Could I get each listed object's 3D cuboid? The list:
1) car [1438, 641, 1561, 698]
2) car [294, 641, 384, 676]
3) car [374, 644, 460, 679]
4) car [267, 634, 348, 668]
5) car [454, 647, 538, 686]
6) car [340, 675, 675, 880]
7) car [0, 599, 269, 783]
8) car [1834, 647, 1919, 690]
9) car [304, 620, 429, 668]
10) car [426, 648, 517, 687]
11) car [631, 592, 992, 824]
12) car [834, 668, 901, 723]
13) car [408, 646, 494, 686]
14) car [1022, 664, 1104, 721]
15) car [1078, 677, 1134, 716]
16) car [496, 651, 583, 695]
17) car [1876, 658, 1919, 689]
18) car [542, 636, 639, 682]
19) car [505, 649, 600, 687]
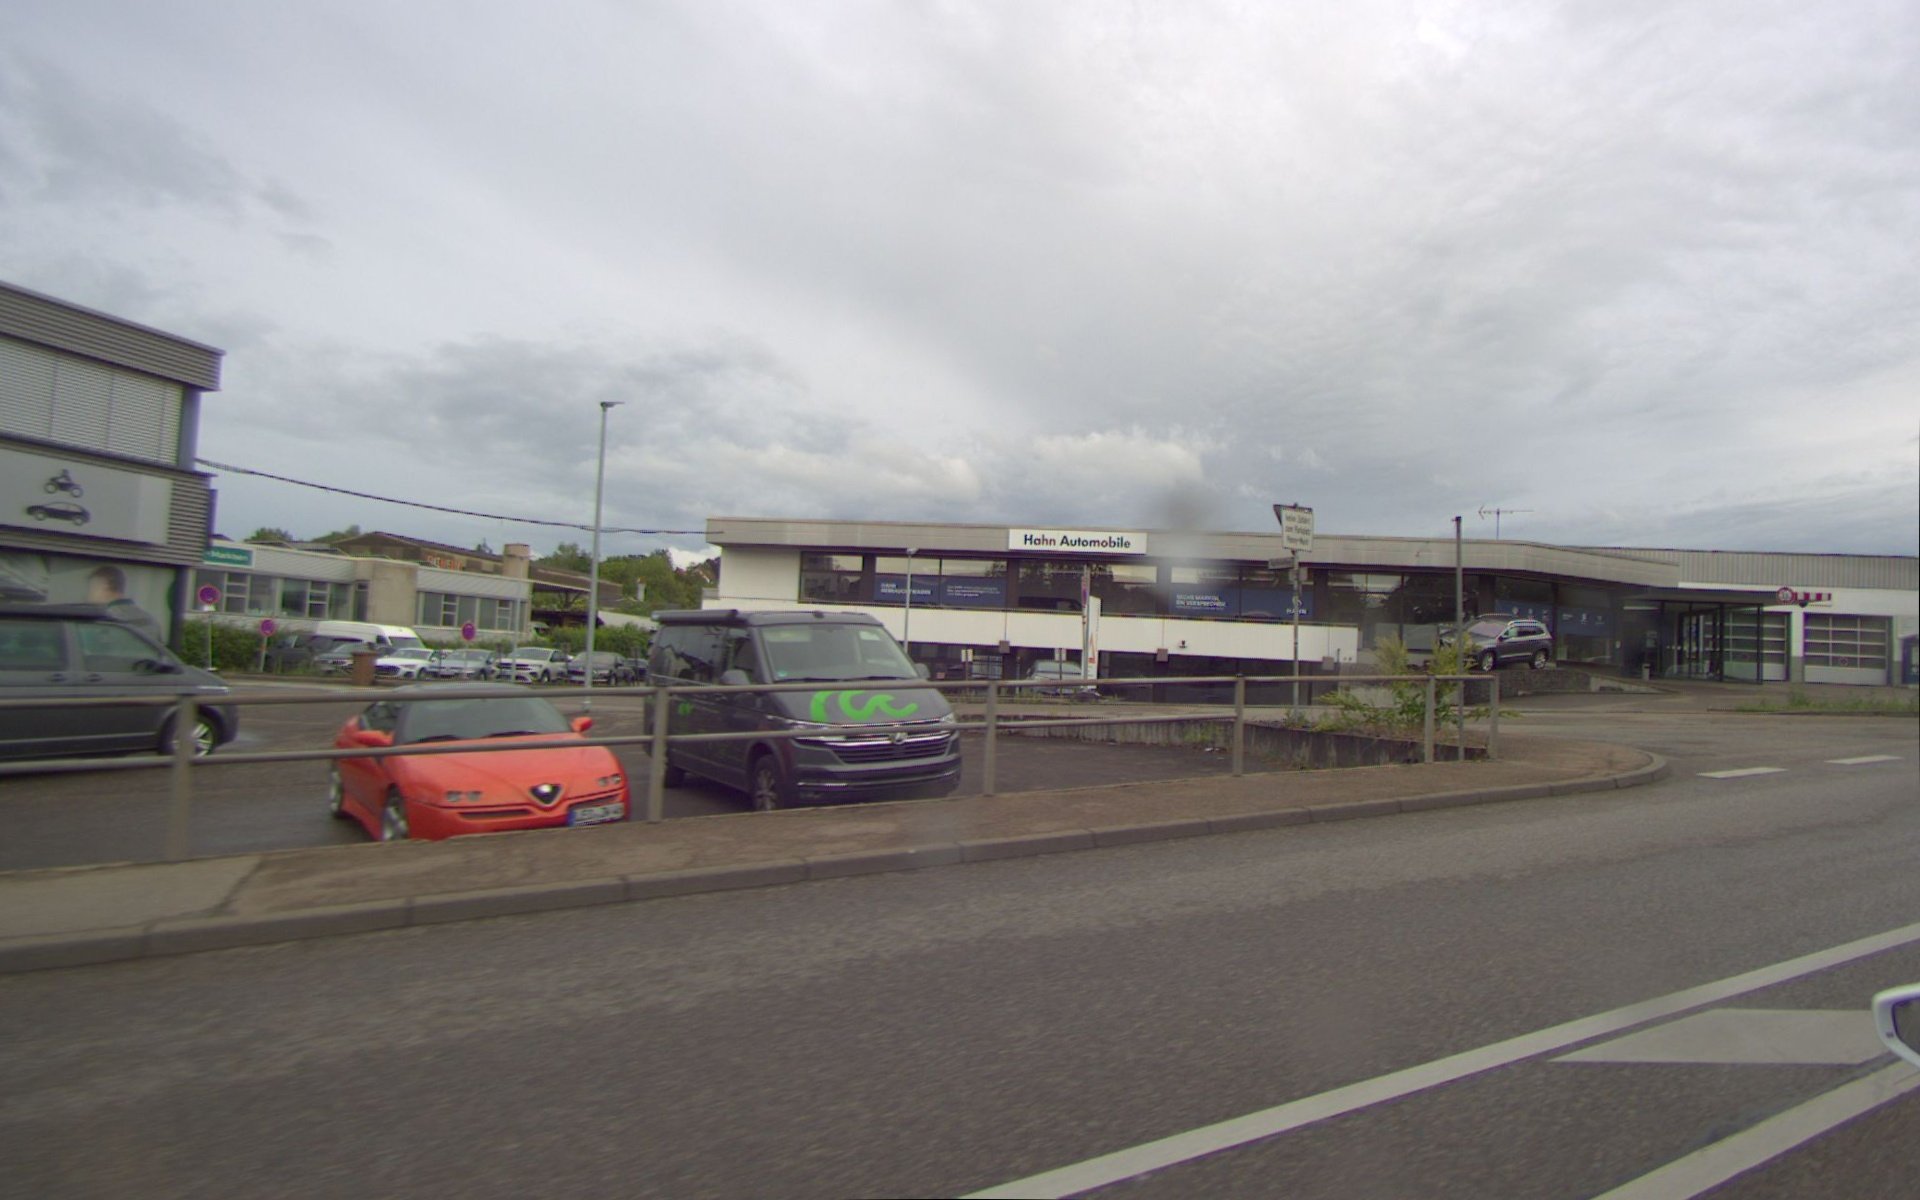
[{"bbox_3d":[18.107,2.324,33.692,4.193,1.823,1.395,2,-3,-25],"label":"car"},{"bbox_3d":[-22.359,2.098,36.282,1.354,1.203,3.063,0,-2,-1],"label":"car"},{"bbox_3d":[-19.710,2.213,36.585,1.423,1.194,3.262,0,-2,-1],"label":"car"},{"bbox_3d":[-29.644,2.306,45.658,3.002,1.511,1.535,-1,-2,18],"label":"car"},{"bbox_3d":[-25.567,3.673,55.369,3.922,2.039,1.909,-1,-5,21],"label":"car"},{"bbox_3d":[-4.228,1.371,9.018,1.755,1.284,4.059,3,-4,-39],"label":"car"},{"bbox_3d":[-11.240,1.017,11.797,1.961,2.013,4.879,0,-3,20],"label":"car"},{"bbox_3d":[44.996,3.339,48.570,1.948,1.985,4.491,0,-5,9],"label":"car"},{"bbox_3d":[-28.688,2.104,48.560,5.763,2.040,2.000,2,-2,21],"label":"car"},{"bbox_3d":[-17.317,2.373,35.751,1.559,1.306,3.502,0,-2,-1],"label":"car"},{"bbox_3d":[-1.871,1.014,10.833,1.805,1.895,5.035,2,-3,-35],"label":"car"},{"bbox_3d":[-2.703,2.803,30.169,1.745,1.446,3.991,0,-2,-1],"label":"car"},{"bbox_3d":[-26.740,3.456,52.779,3.922,2.039,1.818,-1,-5,21],"label":"car"},{"bbox_3d":[2.906,2.617,29.130,1.852,1.446,4.106,0,-2,-1],"label":"car"},{"bbox_3d":[6.229,4.131,43.287,1.852,1.446,4.107,0,-2,0],"label":"car"},{"bbox_3d":[-14.622,2.517,35.121,1.552,1.446,3.593,0,-2,-1],"label":"car"},{"bbox_3d":[46.742,3.531,48.338,1.914,1.434,4.025,0,-2,7],"label":"car"},{"bbox_3d":[-12.223,1.945,33.489,1.808,1.446,3.991,0,-2,-1],"label":"car"},{"bbox_3d":[-24.420,4.049,60.246,5.274,1.990,2.000,2,-2,21],"label":"car"}]
